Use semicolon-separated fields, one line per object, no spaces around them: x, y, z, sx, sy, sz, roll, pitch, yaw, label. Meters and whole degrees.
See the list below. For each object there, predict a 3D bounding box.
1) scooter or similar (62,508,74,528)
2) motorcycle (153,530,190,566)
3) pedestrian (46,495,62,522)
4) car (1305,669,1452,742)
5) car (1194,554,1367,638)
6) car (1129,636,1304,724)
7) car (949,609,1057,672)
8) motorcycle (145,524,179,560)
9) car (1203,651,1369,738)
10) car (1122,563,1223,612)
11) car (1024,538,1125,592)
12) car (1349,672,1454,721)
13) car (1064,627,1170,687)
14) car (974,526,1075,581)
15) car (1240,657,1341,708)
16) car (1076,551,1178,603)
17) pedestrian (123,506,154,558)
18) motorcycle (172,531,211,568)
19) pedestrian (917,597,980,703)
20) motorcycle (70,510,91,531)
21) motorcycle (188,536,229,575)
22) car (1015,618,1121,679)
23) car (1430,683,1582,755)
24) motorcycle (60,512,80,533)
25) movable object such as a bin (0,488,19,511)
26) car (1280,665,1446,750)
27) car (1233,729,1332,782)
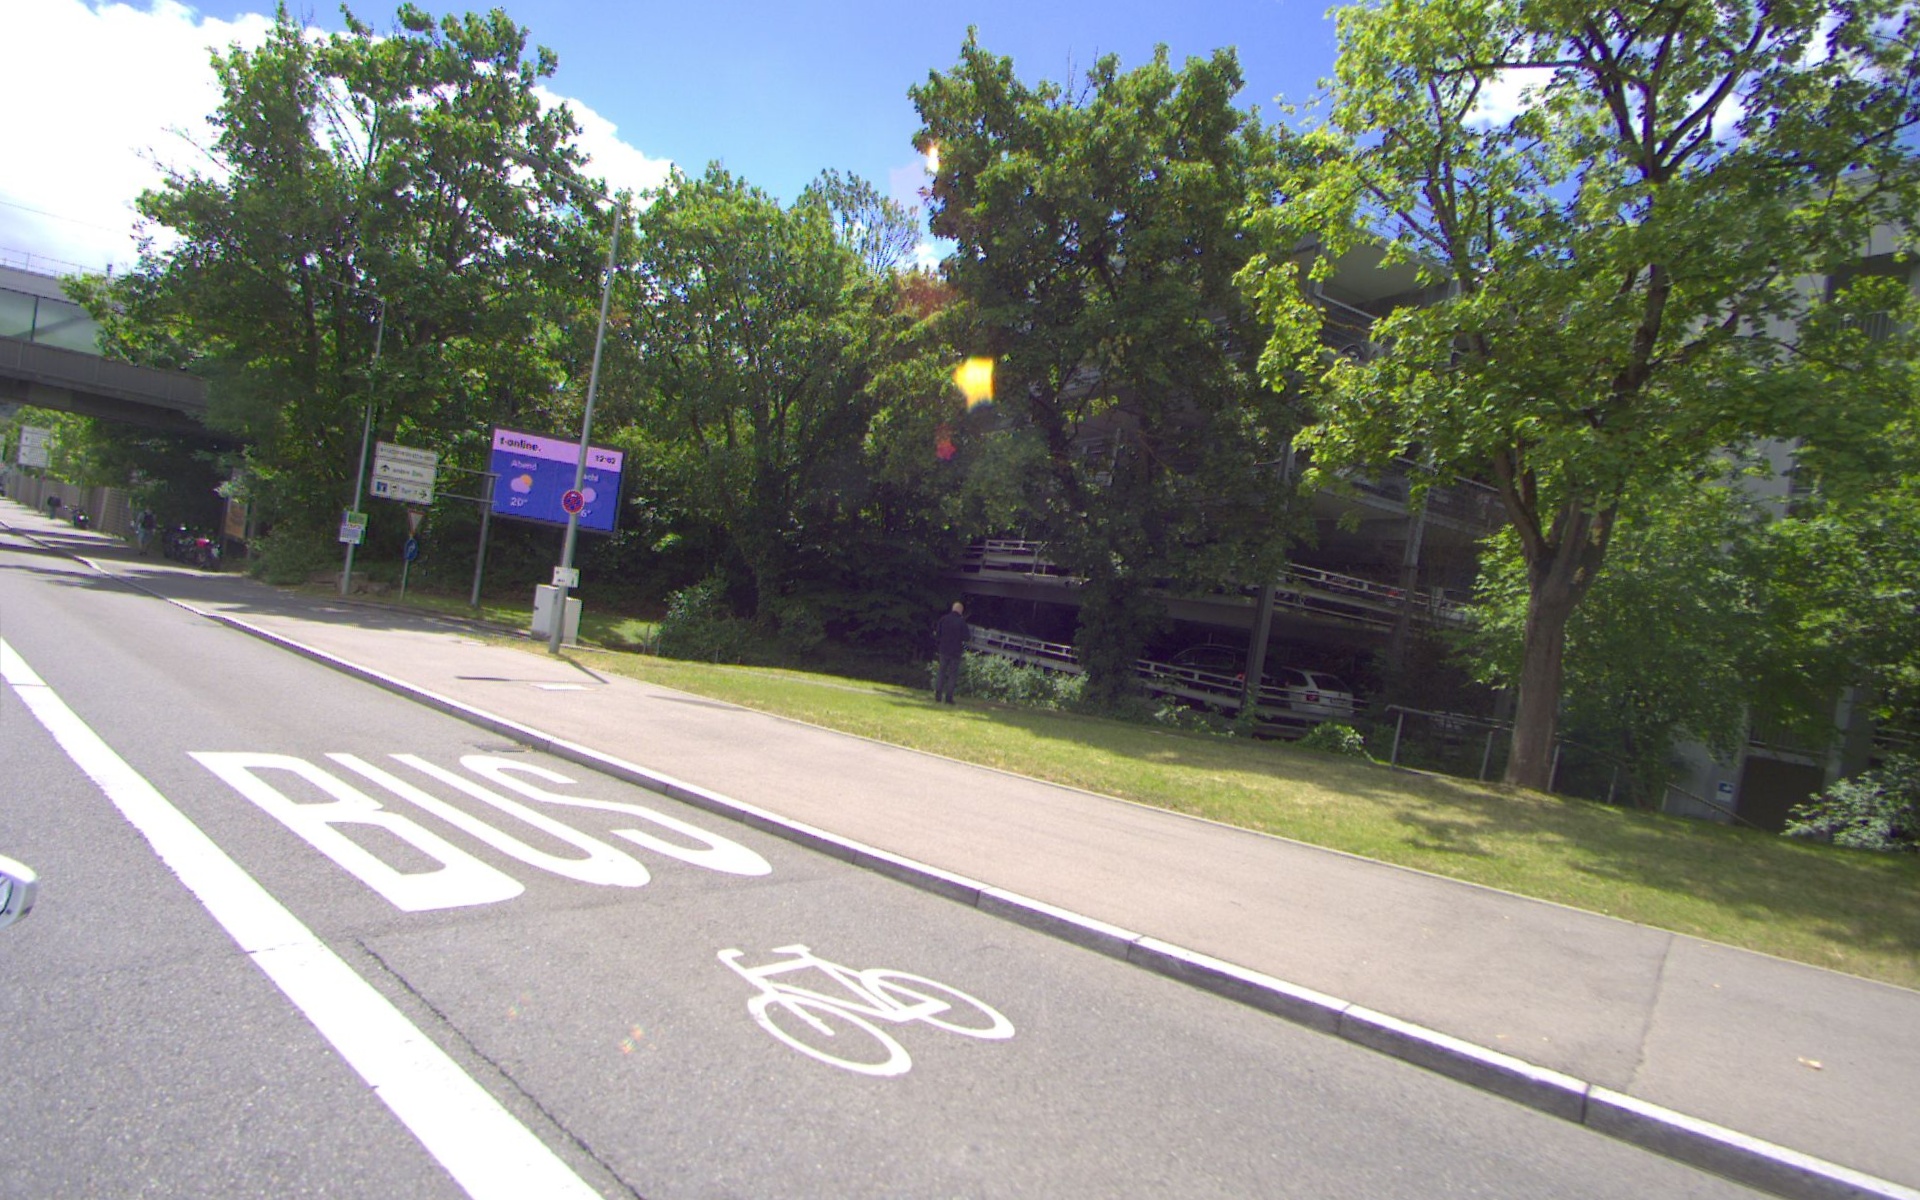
-58.106;-5.334;65.515;1.118;1.191;0.368;7;-1;43;scooter or similar
-28.477;-1.886;36.311;1.989;1.123;0.546;6;-1;40;motorcycle
-61.974;-6.256;68.810;0.736;1.638;0.620;13;3;42;pedestrian
12.078;3.014;29.232;1.615;1.541;3.599;9;-2;-28;car
8.391;-0.153;26.689;1.916;1.814;3.973;10;-2;-28;car
6.346;1.945;25.374;1.638;1.613;4.363;9;-2;-27;car
1.404;1.349;34.673;1.757;1.489;4.110;10;0;-27;car
-30.423;-2.228;38.346;1.876;1.212;0.546;6;-1;40;motorcycle
8.319;2.392;25.999;1.757;1.489;3.771;10;0;-27;car
7.814;-0.495;37.306;1.615;1.541;3.599;9;-2;-28;car
3.922;-1.215;35.054;1.615;1.541;3.599;9;-2;-28;car
19.237;4.198;43.999;1.737;1.558;3.862;9;-2;-28;car
5.619;2.028;36.444;1.757;1.489;3.771;10;0;-27;car
2.125;-1.548;34.017;1.615;1.541;3.599;9;-2;-28;car
13.408;3.331;40.981;1.737;1.558;3.599;9;-2;-28;car
5.945;-0.840;36.180;1.615;1.541;3.599;9;-2;-28;car
-31.125;-2.587;38.106;0.860;1.880;0.622;6;-1;41;pedestrian
-26.448;-1.737;34.612;1.989;1.123;0.546;6;-1;40;motorcycle
-0.197;0.870;17.636;0.759;1.740;0.590;8;2;15;pedestrian
-51.013;-4.613;58.329;2.593;1.042;0.562;7;1;43;motorcycle
-24.624;-1.475;32.934;1.989;1.123;0.546;6;-1;40;motorcycle
3.723;1.681;35.316;1.757;1.489;3.771;10;0;-27;car
16.272;3.516;30.143;1.615;1.541;3.599;9;-2;-28;car
-53.456;-4.671;60.421;2.593;1.042;0.562;7;1;43;motorcycle
-102.953;-10.883;108.699;1.659;2.157;1.263;9;-2;-42;movable object such as a bin
10.762;2.850;27.120;1.757;1.489;3.771;10;0;-27;car
12.915;6.216;40.461;1.556;1.429;3.599;9;-2;-28;car
